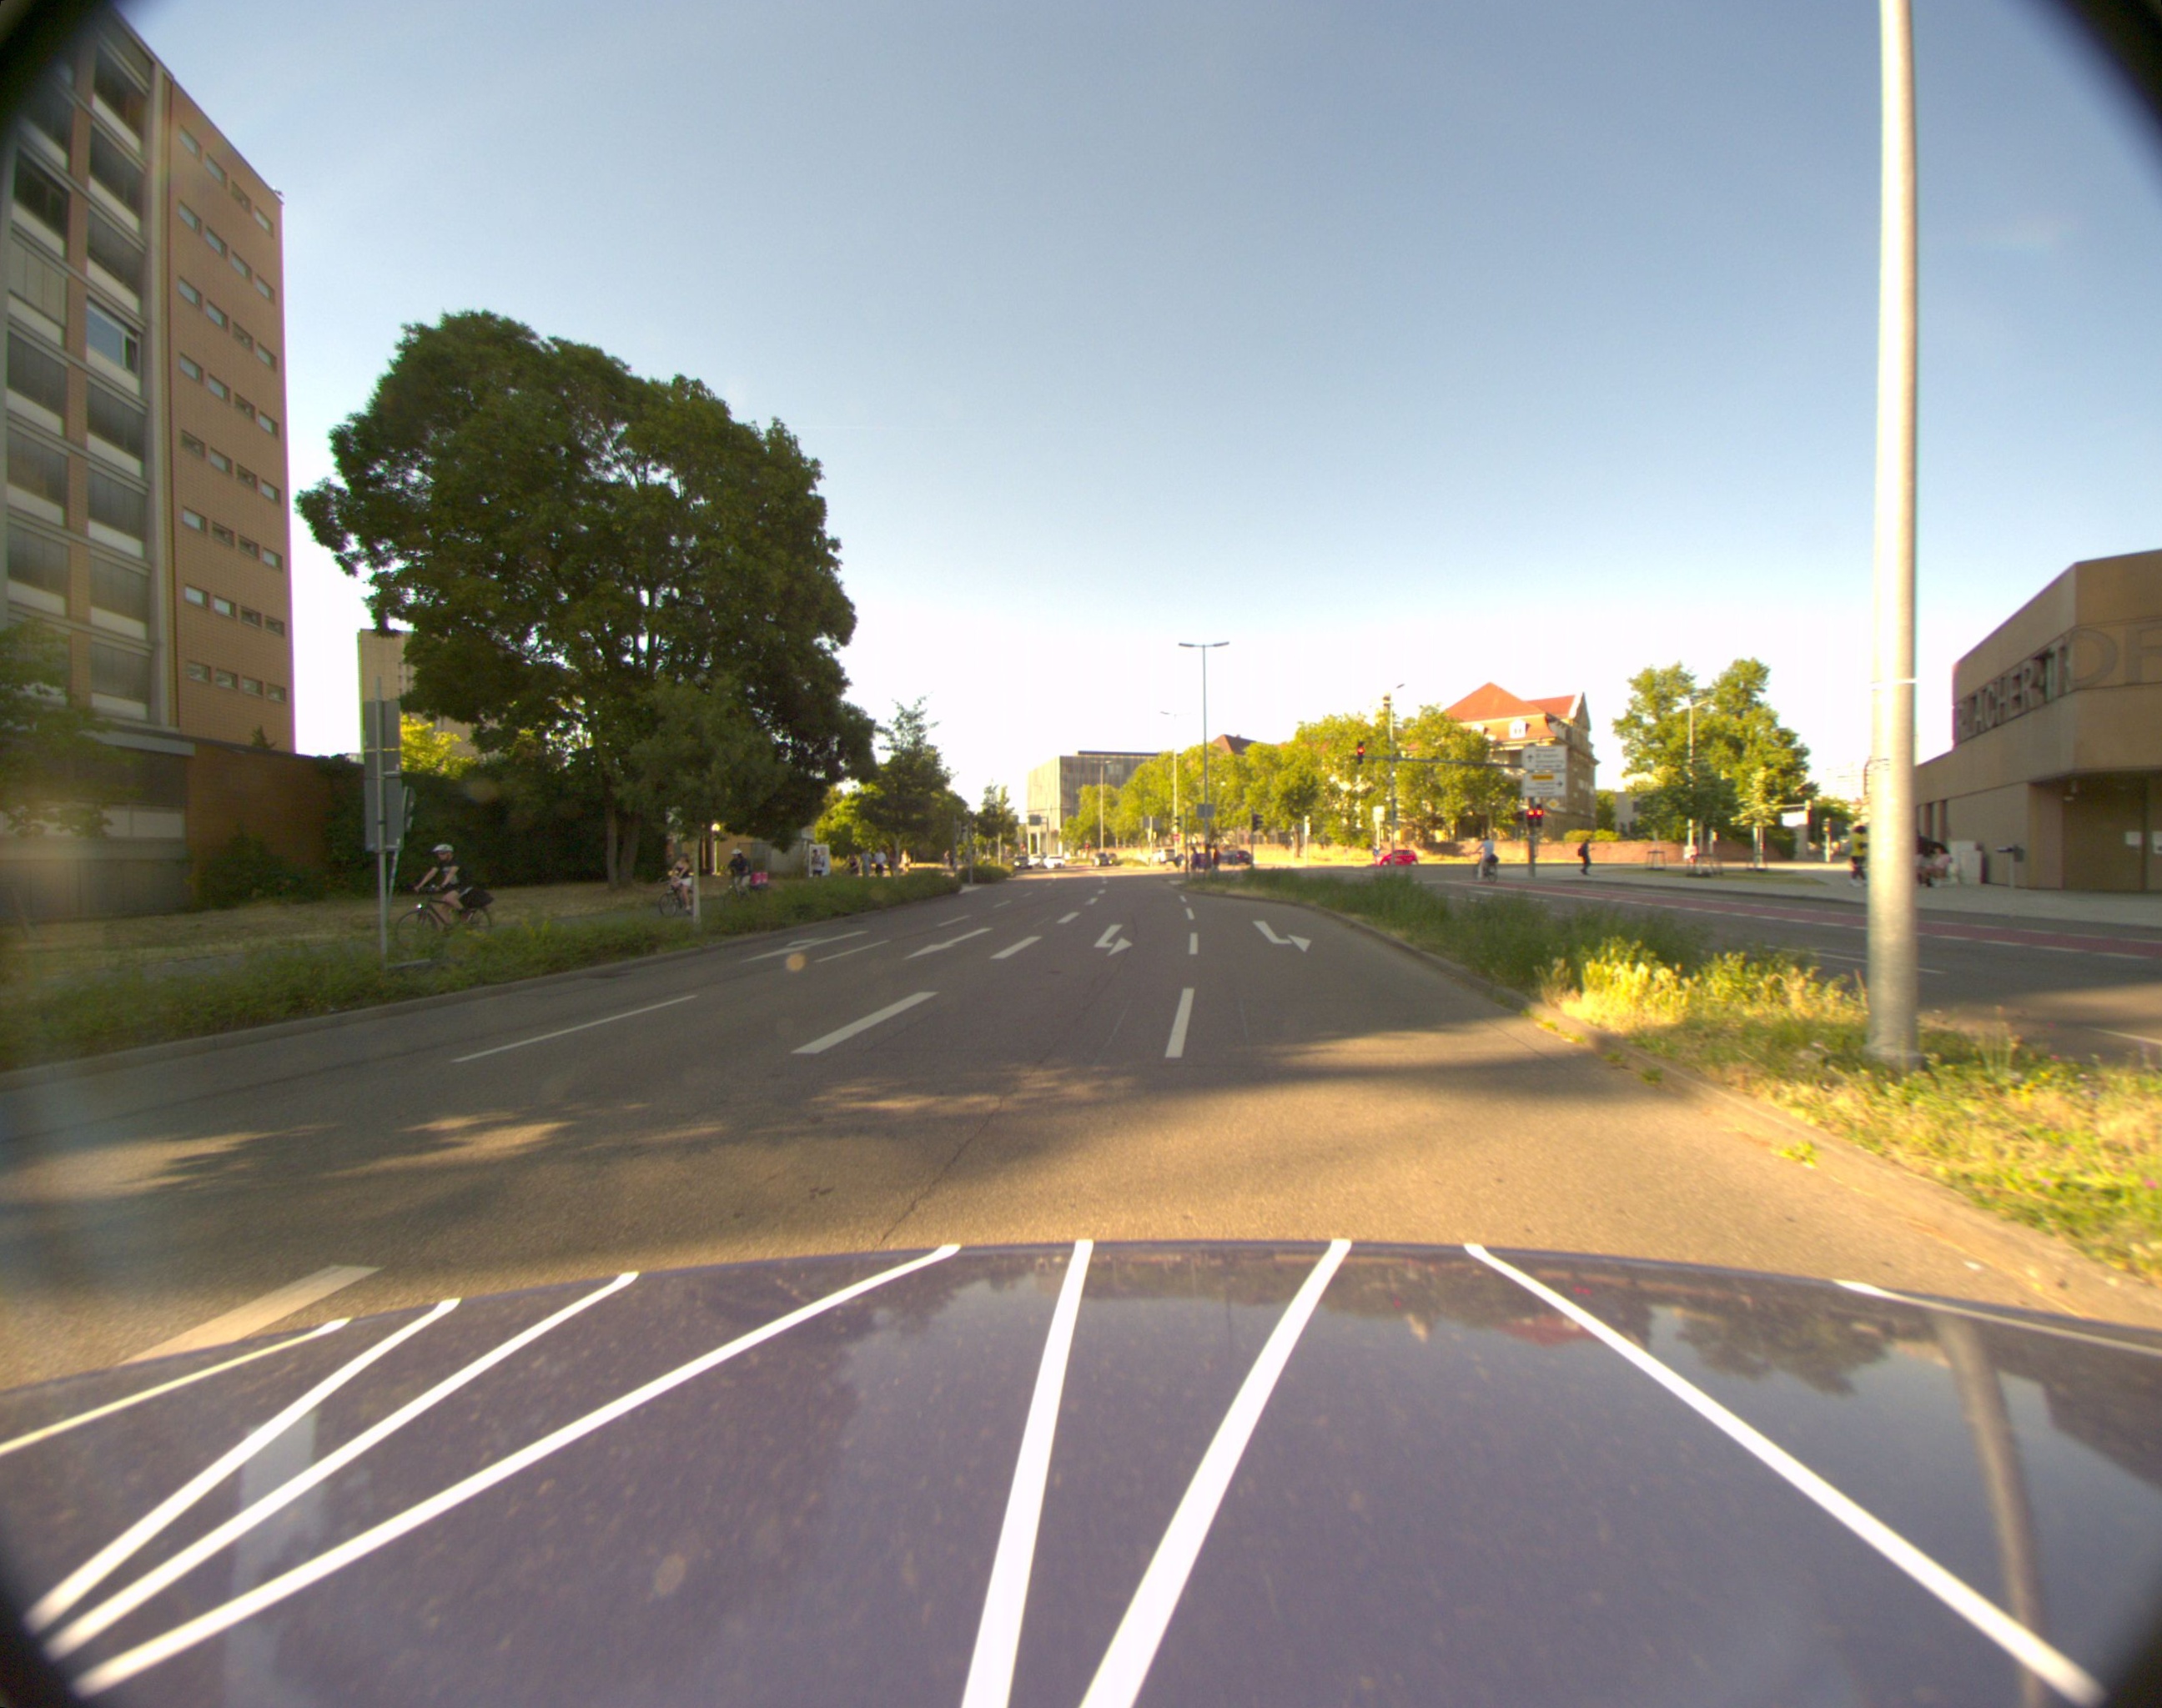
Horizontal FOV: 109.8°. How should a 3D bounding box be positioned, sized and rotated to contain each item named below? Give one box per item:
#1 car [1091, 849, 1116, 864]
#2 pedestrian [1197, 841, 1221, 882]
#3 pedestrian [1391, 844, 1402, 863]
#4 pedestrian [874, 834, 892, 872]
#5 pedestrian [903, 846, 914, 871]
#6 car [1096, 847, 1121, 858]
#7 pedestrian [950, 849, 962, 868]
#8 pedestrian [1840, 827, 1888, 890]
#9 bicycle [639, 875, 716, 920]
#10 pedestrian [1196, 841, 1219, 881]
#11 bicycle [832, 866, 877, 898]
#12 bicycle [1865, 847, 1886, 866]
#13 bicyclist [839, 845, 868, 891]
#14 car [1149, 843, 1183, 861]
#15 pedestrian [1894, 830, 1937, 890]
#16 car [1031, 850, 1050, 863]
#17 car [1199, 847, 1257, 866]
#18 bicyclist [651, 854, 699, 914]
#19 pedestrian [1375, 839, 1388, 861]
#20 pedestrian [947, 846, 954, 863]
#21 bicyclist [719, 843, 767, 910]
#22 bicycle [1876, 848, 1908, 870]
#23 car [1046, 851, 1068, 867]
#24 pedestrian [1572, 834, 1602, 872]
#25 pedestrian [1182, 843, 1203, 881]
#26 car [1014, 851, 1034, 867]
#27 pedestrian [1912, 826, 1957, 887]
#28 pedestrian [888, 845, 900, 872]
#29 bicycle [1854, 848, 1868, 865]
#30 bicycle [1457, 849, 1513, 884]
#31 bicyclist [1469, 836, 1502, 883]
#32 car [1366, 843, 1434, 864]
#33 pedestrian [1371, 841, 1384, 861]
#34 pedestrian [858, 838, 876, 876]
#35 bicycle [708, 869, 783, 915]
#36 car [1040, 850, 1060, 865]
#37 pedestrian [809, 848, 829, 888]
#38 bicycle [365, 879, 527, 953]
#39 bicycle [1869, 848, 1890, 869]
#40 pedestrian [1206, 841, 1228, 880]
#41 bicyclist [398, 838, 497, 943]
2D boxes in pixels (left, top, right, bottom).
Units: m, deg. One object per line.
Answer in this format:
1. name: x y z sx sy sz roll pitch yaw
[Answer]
1. car: 2.295 0.239 78.565 1.925 1.510 4.014 -1 1 -8
2. pedestrian: 5.481 0.309 32.655 0.927 1.731 0.757 -1 1 4
3. pedestrian: 27.562 -0.069 66.378 0.791 1.644 0.714 2 5 31
4. pedestrian: -9.829 -0.041 37.743 0.575 1.858 0.624 0 1 40
5. pedestrian: -11.708 0.312 51.650 0.676 1.694 0.875 -1 1 -16
6. car: 4.180 -0.205 115.524 2.159 1.611 4.354 -1 1 -23
7. pedestrian: -11.669 0.430 71.052 1.019 1.739 0.848 0 1 -17
8. pedestrian: 23.183 0.134 22.520 0.717 1.824 0.640 -2 -1 15
9. bicycle: -10.737 1.144 20.311 0.718 1.114 1.871 -2 -1 15
10. pedestrian: 5.547 0.319 33.431 0.927 1.731 0.757 -1 1 4
11. bicycle: -8.934 1.090 30.019 0.718 1.115 2.068 -2 1 13
12. bicycle: 48.074 0.143 45.992 0.565 1.048 1.977 -2 0 38
13. bicyclist: -8.968 0.539 29.983 0.716 1.778 0.850 -2 1 13
14. car: 9.044 -0.191 81.234 2.196 1.673 4.602 -1 -1 -13
15. pedestrian: 23.860 0.186 21.735 0.637 1.678 0.551 -2 -1 28
16. car: -4.880 0.335 91.775 1.925 1.510 4.014 -1 1 -8
17. car: 13.102 0.261 67.666 4.594 1.576 2.200 -2 -1 31
18. bicyclist: -10.779 0.795 20.172 0.716 1.539 0.851 -2 -1 15
19. pedestrian: 26.053 -0.326 65.824 0.871 1.884 0.713 0 4 8
20. pedestrian: -13.331 0.054 77.519 0.713 1.703 0.733 -1 1 -11
21. bicyclist: -9.467 0.620 21.319 0.779 1.823 1.093 0 1 5
22. bicycle: 41.543 0.273 38.929 0.743 1.099 2.129 -2 -1 37
23. car: -2.464 0.469 77.964 1.803 1.510 4.428 -1 1 -8
24. pedestrian: 23.175 -0.047 34.786 0.899 1.675 0.748 -1 1 4
25. pedestrian: 5.156 0.386 35.156 0.927 1.731 0.757 -1 1 4
26. car: -5.743 0.502 76.013 1.803 1.510 3.997 -1 1 -8
27. pedestrian: 24.820 0.078 22.114 0.734 1.720 0.666 -2 -1 40
28. pedestrian: -10.892 0.265 44.280 0.623 1.565 0.638 -1 1 -11
29. bicycle: 48.850 0.153 47.578 1.977 1.048 0.565 -2 0 -44
30. bicycle: 15.876 0.466 29.949 0.742 1.248 2.555 -1 1 -4
31. bicyclist: 15.887 0.211 29.851 0.742 1.822 1.013 -1 2 -4
32. car: 26.129 -0.011 62.342 4.605 1.576 2.195 -1 -1 -5
33. pedestrian: 25.440 -0.239 65.201 0.871 1.665 0.713 0 4 8
34. pedestrian: -10.648 0.126 37.788 0.575 1.858 0.624 0 1 40
35. bicycle: -9.432 1.032 21.518 0.779 1.149 2.581 0 1 5
36. car: -3.493 0.370 85.228 1.925 1.510 4.014 -1 1 -8
37. pedestrian: -11.102 0.592 32.214 0.622 1.689 0.630 -1 1 -2
38. bicycle: -11.451 1.075 13.844 0.779 1.149 2.292 0 1 9
39. bicycle: 44.215 0.252 42.088 0.565 1.099 1.977 -2 0 41
40. pedestrian: 6.121 0.299 34.228 0.927 1.731 0.788 -1 1 4
41. bicyclist: -11.457 0.628 13.786 0.779 1.820 1.094 0 1 9
